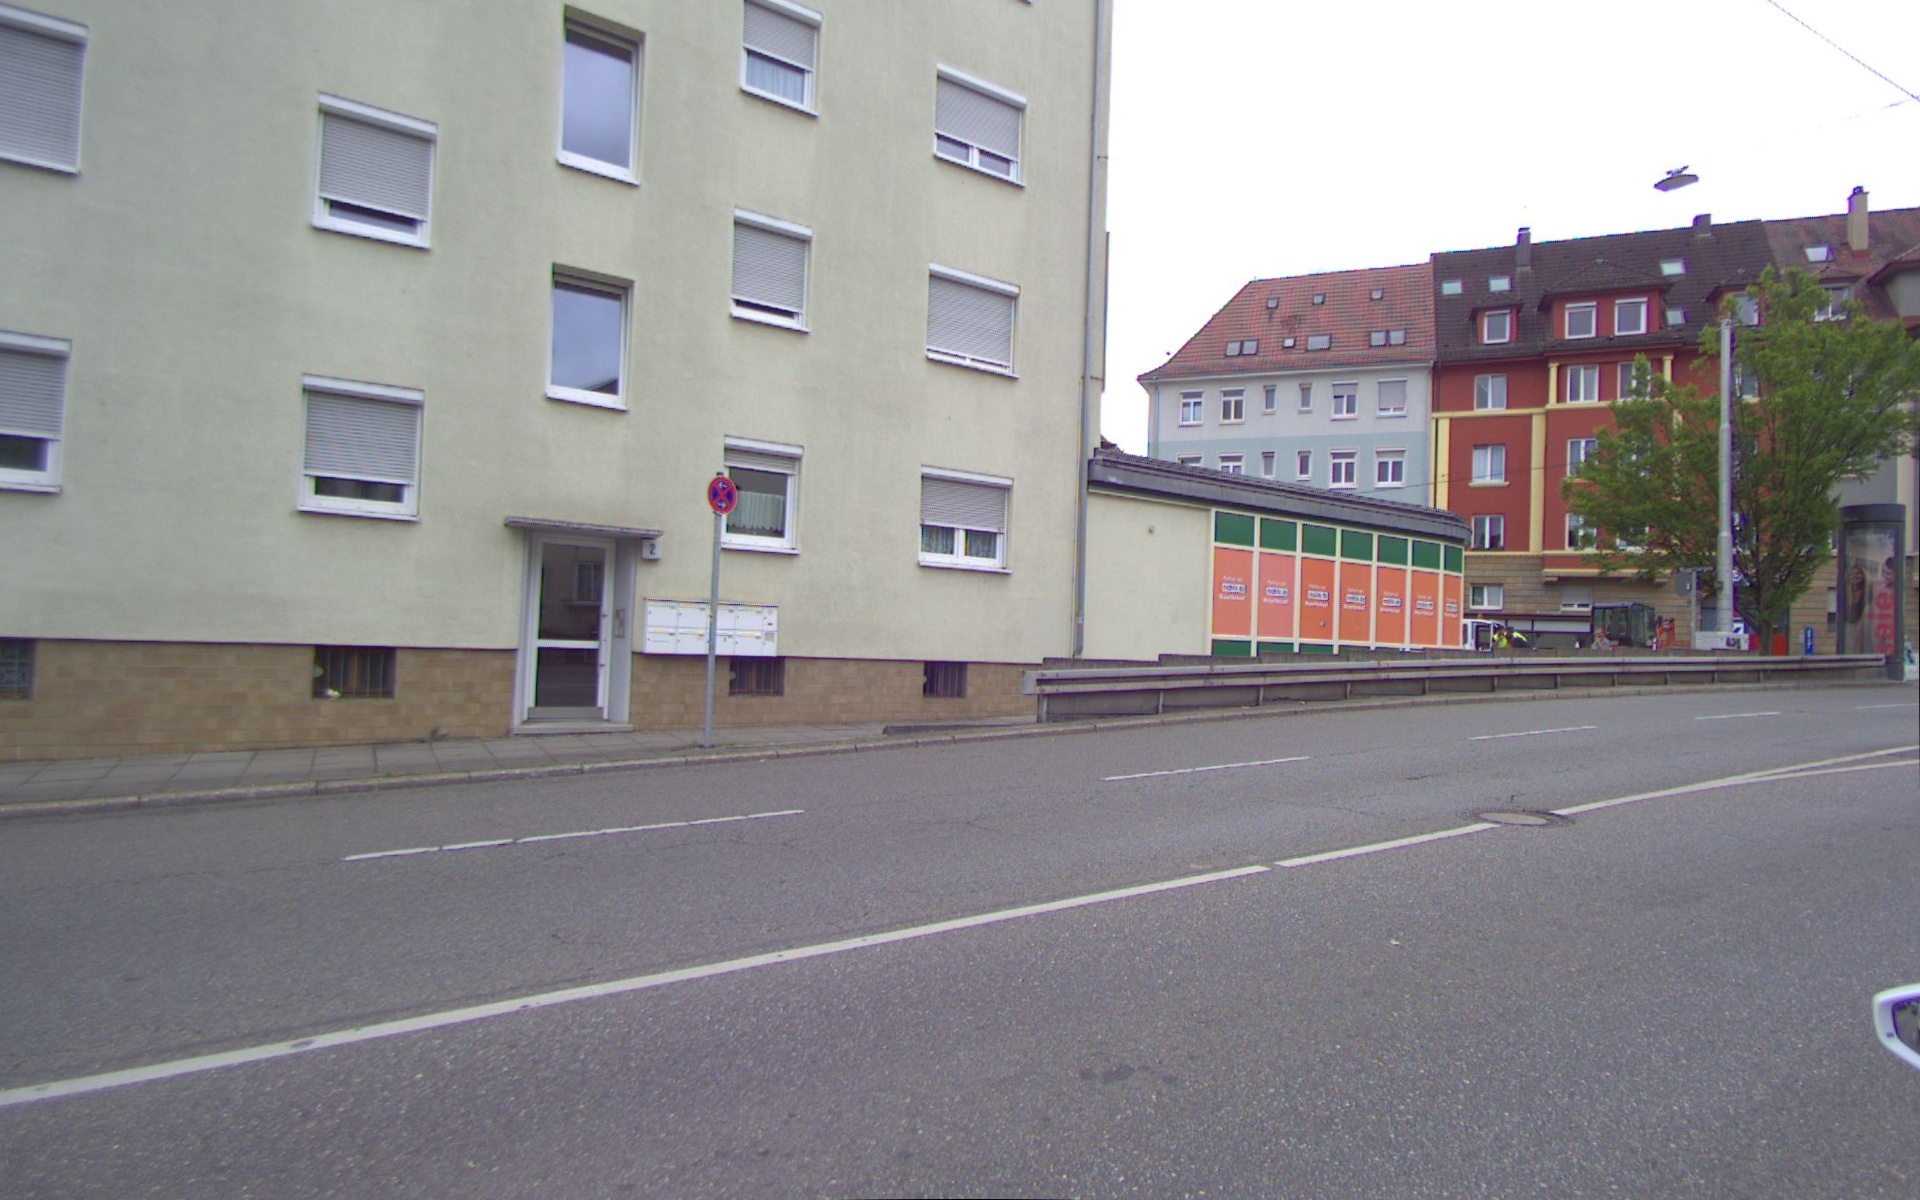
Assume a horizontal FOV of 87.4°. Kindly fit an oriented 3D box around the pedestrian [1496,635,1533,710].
[{"bbox_3d":[13.150,1.705,23.819,0.539,1.722,0.557,1,1,-41],"label":"pedestrian"}]

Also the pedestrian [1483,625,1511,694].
[{"bbox_3d":[13.953,1.532,26.118,0.467,1.753,0.543,2,1,15],"label":"pedestrian"}]

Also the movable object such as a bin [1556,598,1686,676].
[{"bbox_3d":[17.117,0.908,25.953,3.972,1.795,1.884,1,1,-43],"label":"movable object such as a bin"}]

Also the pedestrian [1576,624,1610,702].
[{"bbox_3d":[14.853,1.460,23.575,0.533,1.753,0.593,3,1,26],"label":"pedestrian"}]

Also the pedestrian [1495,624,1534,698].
[{"bbox_3d":[13.828,1.512,25.073,0.605,1.785,0.573,2,1,5],"label":"pedestrian"}]

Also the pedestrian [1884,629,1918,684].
[{"bbox_3d":[28.118,1.670,30.019,0.480,1.588,0.587,2,1,-30],"label":"pedestrian"}]
